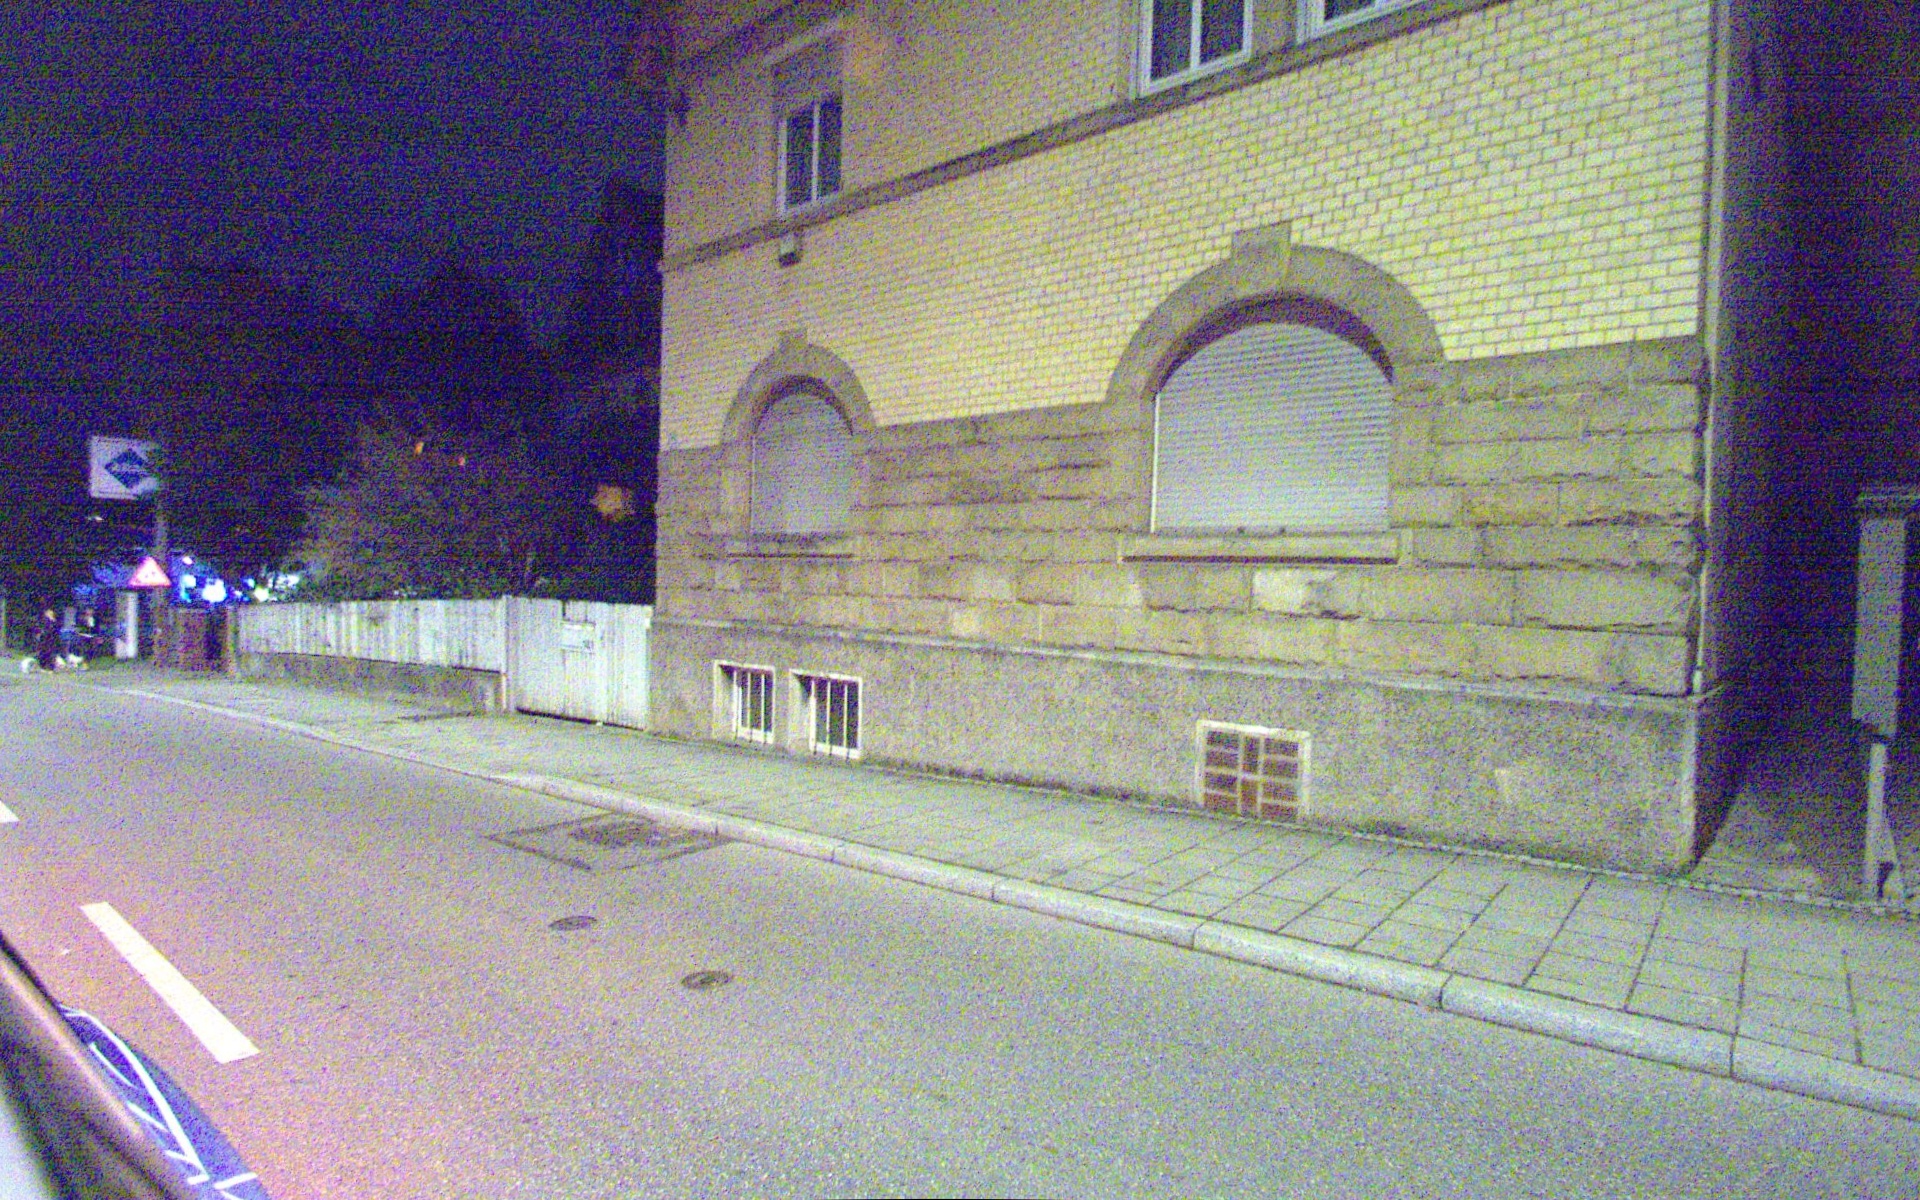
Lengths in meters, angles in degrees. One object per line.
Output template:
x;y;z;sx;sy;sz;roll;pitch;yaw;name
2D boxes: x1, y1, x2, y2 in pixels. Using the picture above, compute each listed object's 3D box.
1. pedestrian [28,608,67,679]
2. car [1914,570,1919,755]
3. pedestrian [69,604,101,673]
-23.254;1.085;25.787;0.500;1.773;0.664;-1;0;41;pedestrian
7.214;0.542;6.230;1.718;1.452;3.612;-1;2;40;car
-22.968;0.996;26.567;0.500;1.773;0.557;-1;0;41;pedestrian
